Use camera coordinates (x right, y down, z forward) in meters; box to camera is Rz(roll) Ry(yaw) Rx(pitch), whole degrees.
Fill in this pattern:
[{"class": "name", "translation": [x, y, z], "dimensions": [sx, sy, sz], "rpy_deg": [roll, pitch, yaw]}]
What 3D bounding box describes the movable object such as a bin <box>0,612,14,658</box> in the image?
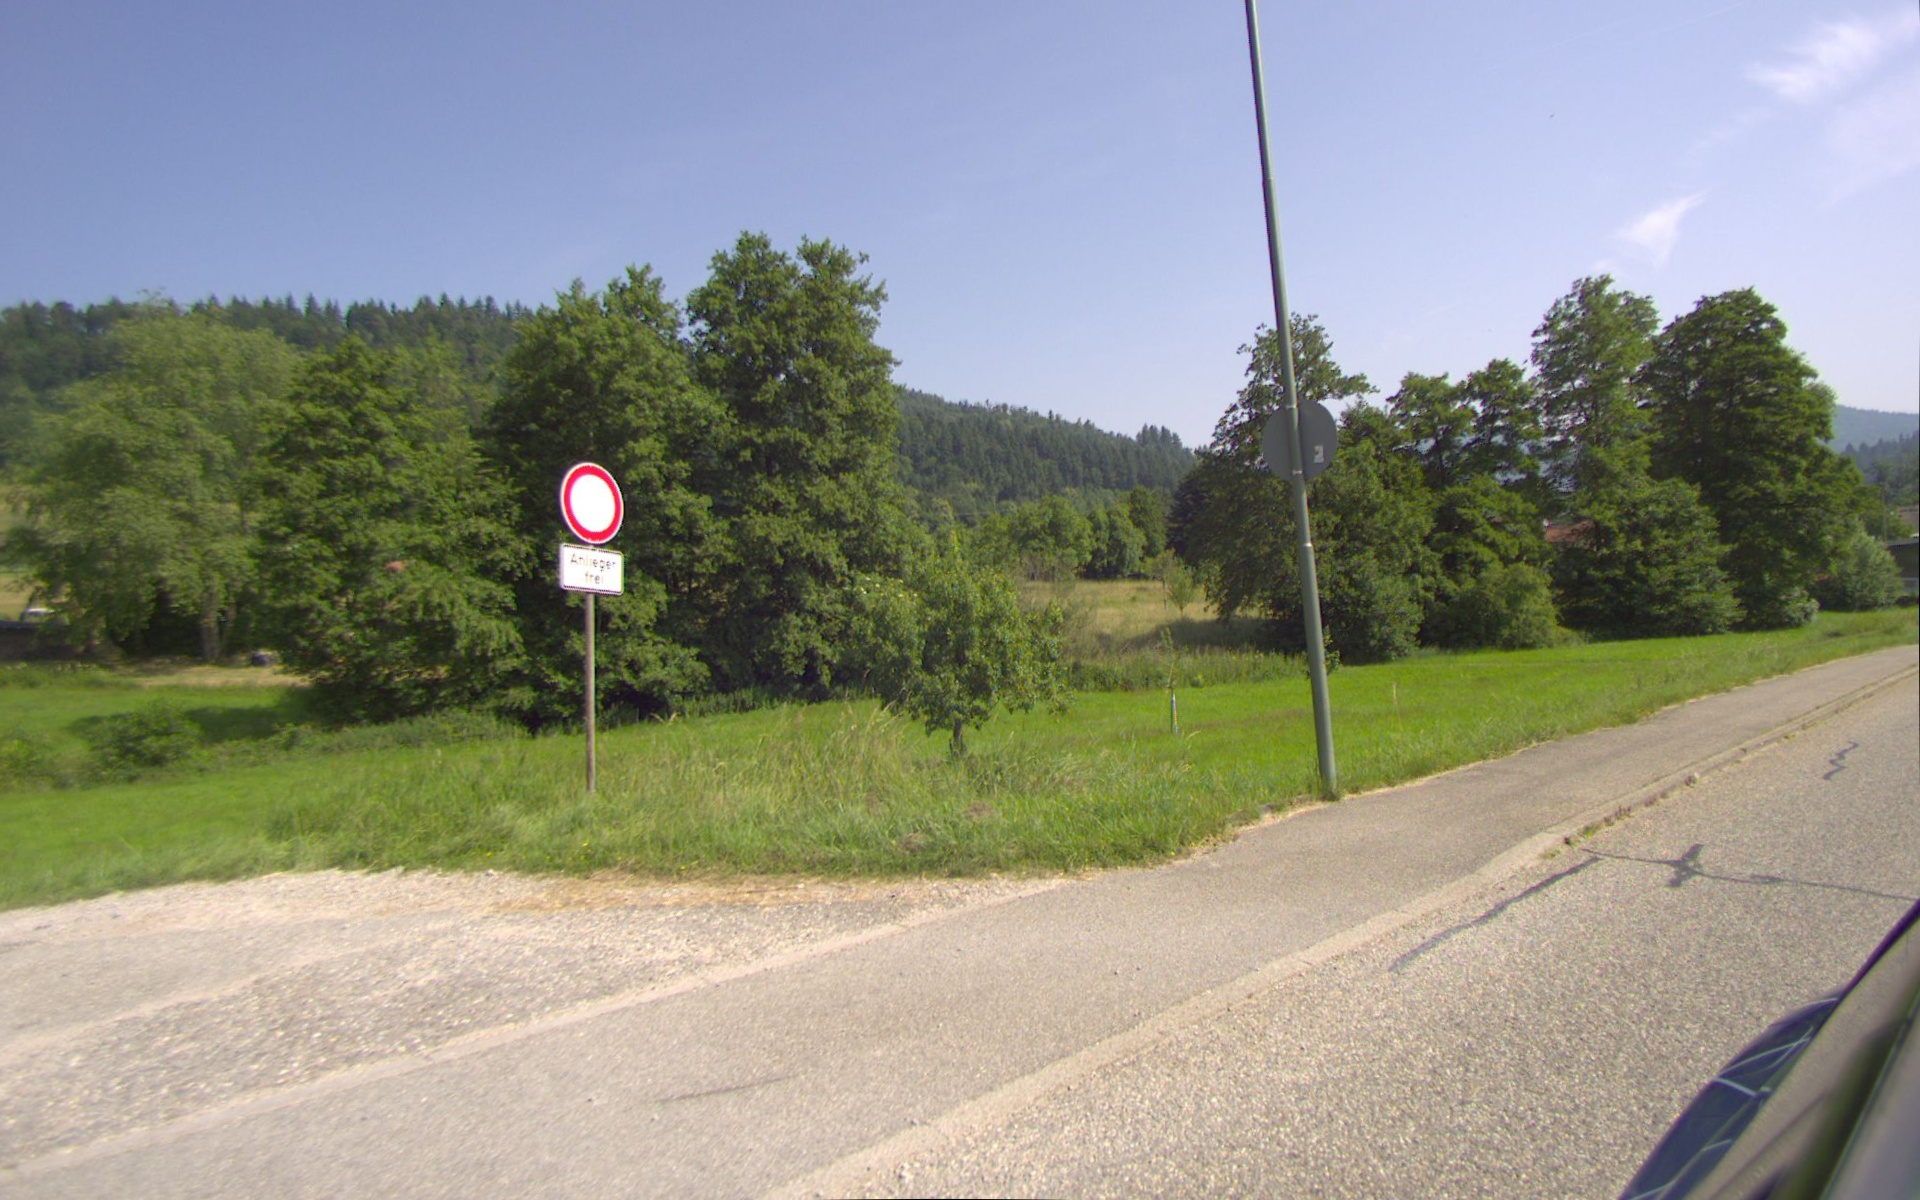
[{"class": "movable object such as a bin", "translation": [-58.098, 2.118, 58.701], "dimensions": [4.460, 2.631, 1.999], "rpy_deg": [-2, 1, -37]}]
